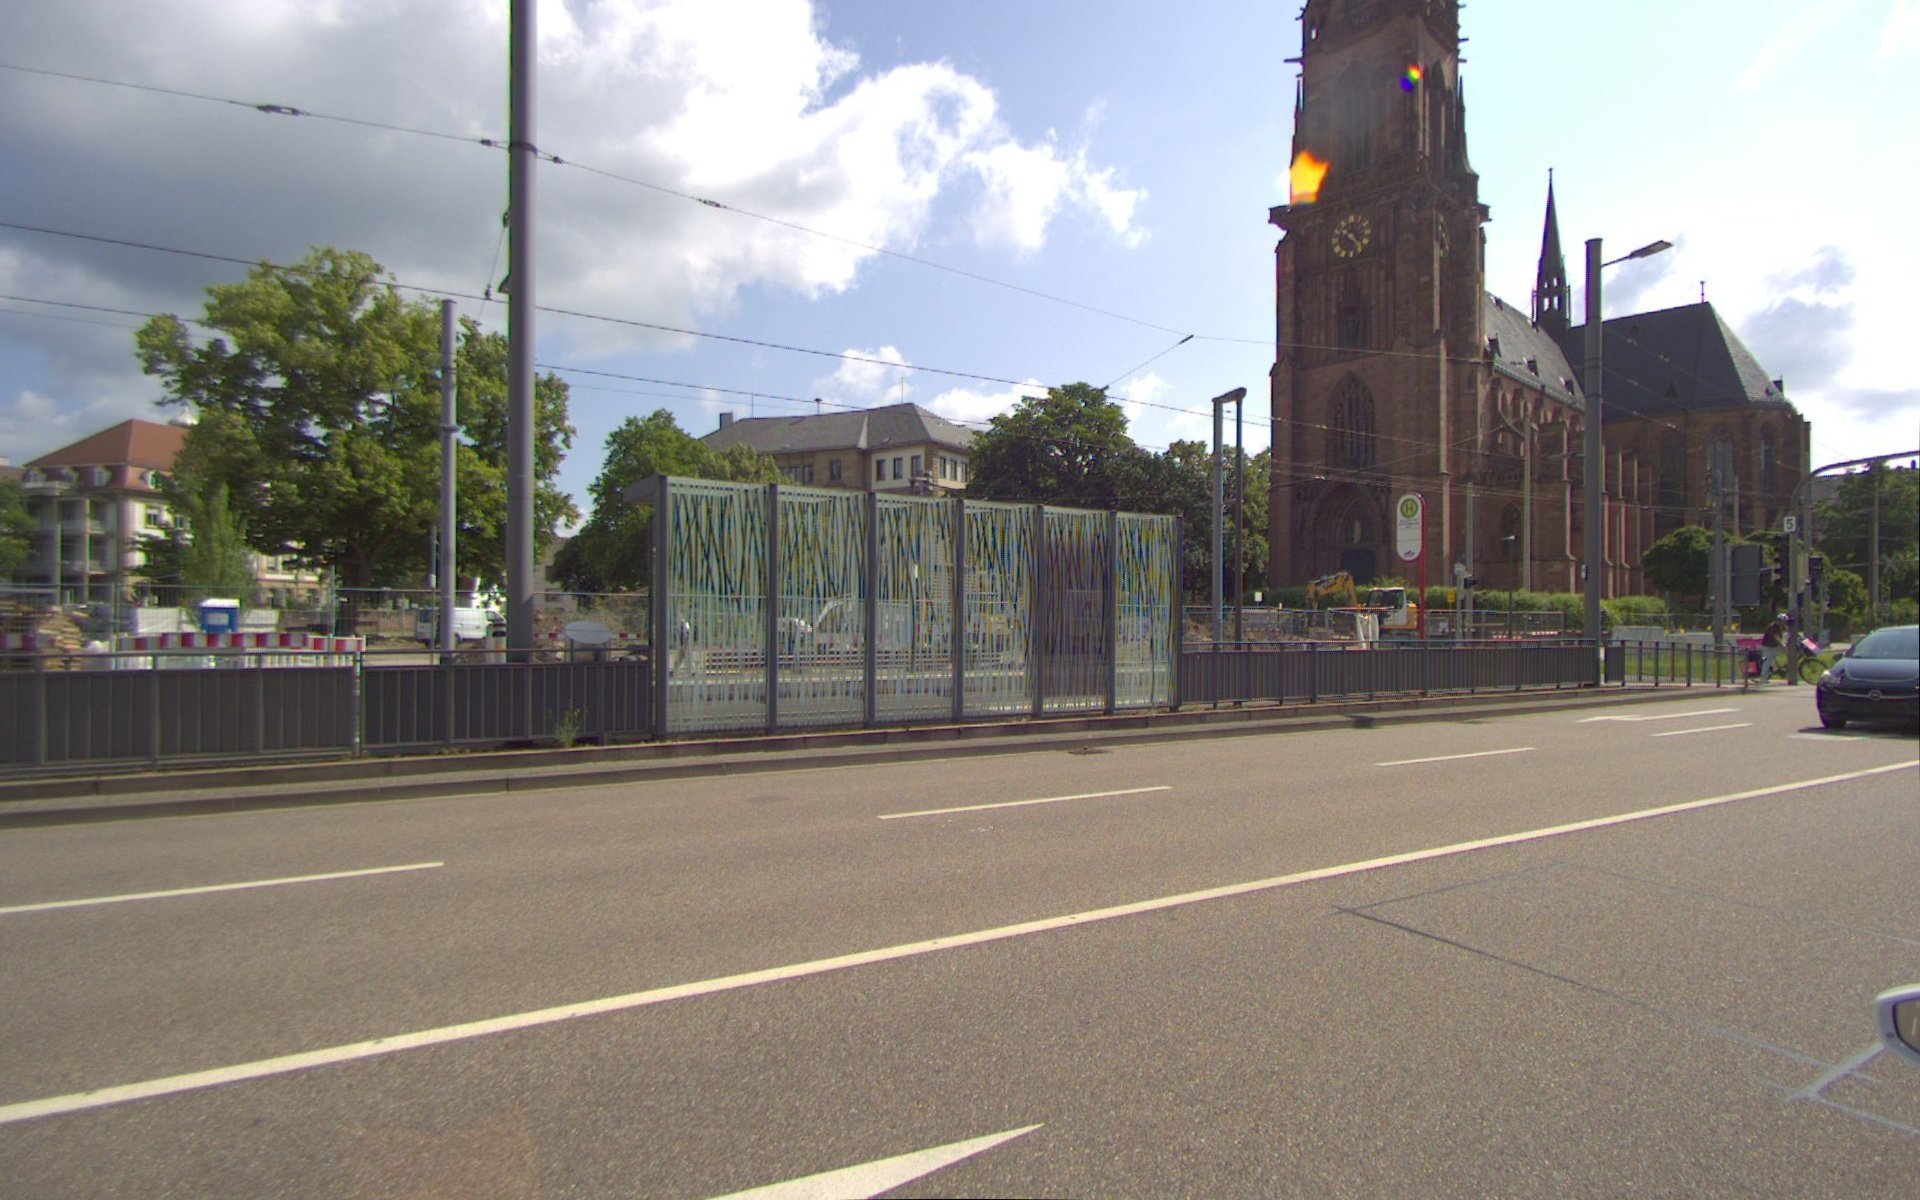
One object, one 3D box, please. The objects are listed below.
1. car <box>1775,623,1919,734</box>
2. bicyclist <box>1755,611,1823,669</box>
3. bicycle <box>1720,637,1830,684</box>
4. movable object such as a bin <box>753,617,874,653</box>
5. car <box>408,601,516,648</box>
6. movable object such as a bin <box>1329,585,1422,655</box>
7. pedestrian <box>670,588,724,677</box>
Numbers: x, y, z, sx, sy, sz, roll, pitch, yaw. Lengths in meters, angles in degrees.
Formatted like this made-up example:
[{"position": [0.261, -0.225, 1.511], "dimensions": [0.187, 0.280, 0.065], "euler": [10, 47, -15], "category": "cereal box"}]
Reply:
[{"position": [13.703, 1.063, 14.504], "dimensions": [3.699, 1.436, 1.906], "euler": [1, -2, -32], "category": "car"}, {"position": [21.035, 1.008, 25.504], "dimensions": [0.812, 1.455, 1.087], "euler": [1, -1, -21], "category": "bicyclist"}, {"position": [20.874, 1.528, 25.789], "dimensions": [0.917, 1.141, 2.016], "euler": [1, -1, -20], "category": "bicycle"}, {"position": [-6.377, 1.524, 44.297], "dimensions": [5.120, 1.522, 1.974], "euler": [1, -2, -44], "category": "movable object such as a bin"}, {"position": [-24.758, 1.183, 50.107], "dimensions": [1.905, 2.166, 4.639], "euler": [-1, 0, 26], "category": "car"}, {"position": [19.895, 0.917, 48.124], "dimensions": [3.948, 3.147, 1.986], "euler": [-2, 0, -27], "category": "movable object such as a bin"}, {"position": [-6.187, 0.764, 23.617], "dimensions": [1.037, 2.040, 1.062], "euler": [1, -1, -27], "category": "pedestrian"}]
